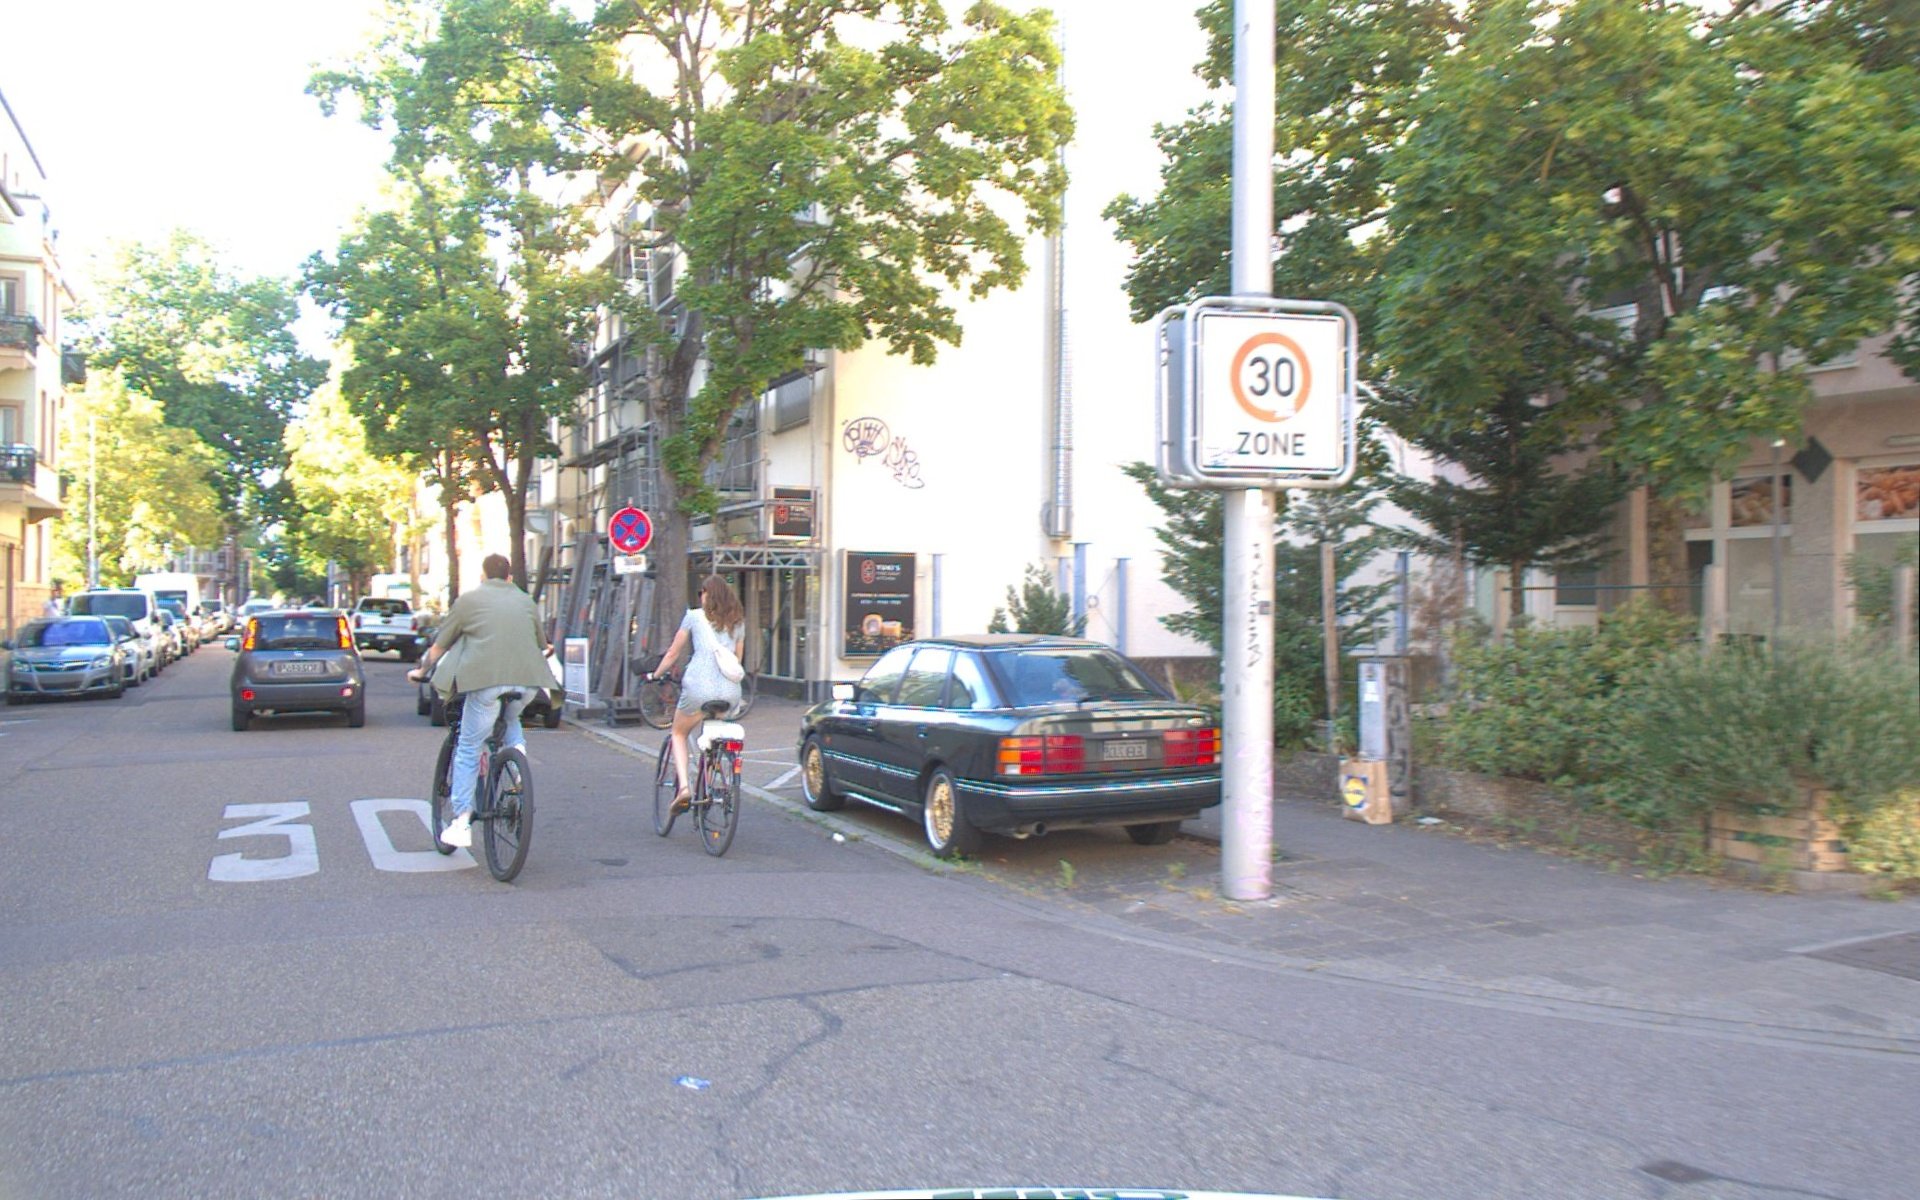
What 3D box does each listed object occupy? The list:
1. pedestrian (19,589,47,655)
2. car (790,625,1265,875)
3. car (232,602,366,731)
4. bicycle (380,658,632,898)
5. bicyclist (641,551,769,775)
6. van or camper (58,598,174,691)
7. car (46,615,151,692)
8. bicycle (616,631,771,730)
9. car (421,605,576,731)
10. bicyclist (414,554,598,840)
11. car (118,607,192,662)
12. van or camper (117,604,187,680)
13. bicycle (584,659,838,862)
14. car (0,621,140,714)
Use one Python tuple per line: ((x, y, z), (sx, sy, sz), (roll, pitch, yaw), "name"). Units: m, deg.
((-27.737, 0.661, 49.502), (0.676, 1.952, 0.612), (2, -1, -28), "pedestrian")
((0.237, 0.926, 11.984), (1.685, 1.412, 4.538), (2, -1, -23), "car")
((-8.796, 0.827, 21.987), (1.535, 1.560, 3.462), (0, -1, -23), "car")
((-2.741, 0.969, 9.795), (0.831, 1.169, 2.208), (1, 0, -32), "bicycle")
((-1.690, 0.429, 10.898), (0.615, 1.405, 0.861), (1, -5, -26), "bicyclist")
((-19.950, 1.009, 39.270), (1.966, 2.049, 4.878), (1, -1, -22), "van or camper")
((-17.714, 1.065, 34.130), (1.664, 1.479, 3.682), (1, -1, -24), "car")
((-3.541, 1.047, 22.075), (1.969, 1.185, 0.716), (-2, 1, -41), "bicycle")
((-6.571, 0.916, 23.344), (1.652, 1.572, 3.380), (4, -2, -22), "car")
((-2.690, 0.570, 9.779), (0.872, 1.589, 0.860), (2, -4, -29), "bicyclist")
((-23.678, 0.984, 48.737), (1.687, 1.531, 3.972), (2, -1, -23), "car")
((-29.150, 1.477, 59.797), (1.967, 2.598, 4.986), (2, -1, -24), "van or camper")
((-1.708, 1.021, 10.975), (0.830, 1.169, 2.209), (6, -4, -30), "bicycle")
((-15.777, 1.136, 29.229), (1.951, 1.481, 4.086), (0, 0, -22), "car")
